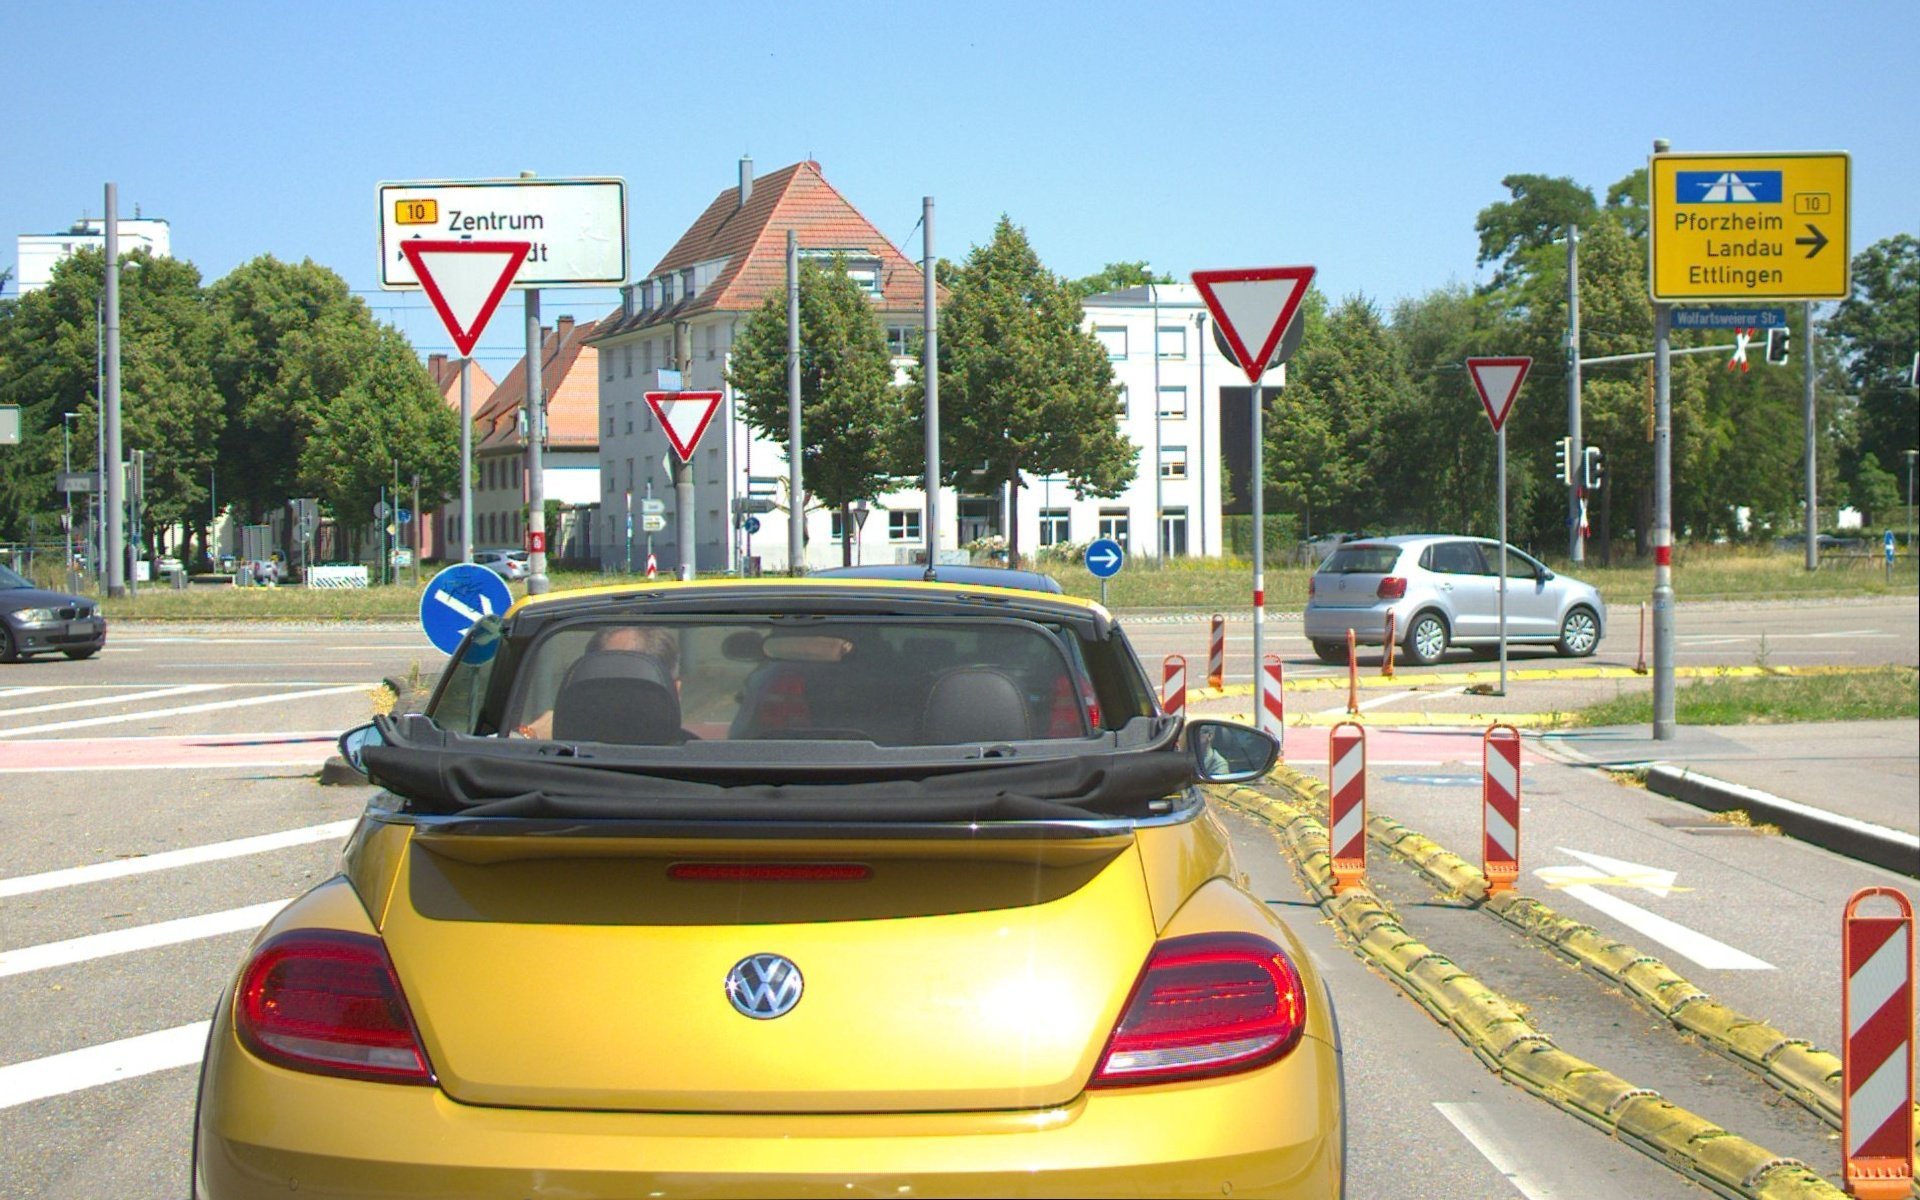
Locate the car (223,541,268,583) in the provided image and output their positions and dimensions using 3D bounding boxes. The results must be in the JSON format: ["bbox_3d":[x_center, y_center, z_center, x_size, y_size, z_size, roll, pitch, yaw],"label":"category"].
[{"bbox_3d":[-34.579,-1.841,166.253,1.993,2.007,4.001,1,1,-13],"label":"car"}]

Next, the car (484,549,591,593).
[{"bbox_3d":[-16.318,-1.123,133.050,3.986,1.612,2.000,1,0,-4],"label":"car"}]

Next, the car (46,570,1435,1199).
[{"bbox_3d":[-0.312,0.676,6.368,1.825,1.398,3.662,0,1,-1],"label":"car"}]

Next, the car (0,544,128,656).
[{"bbox_3d":[-13.303,-0.003,45.696,4.072,1.398,1.751,0,2,22],"label":"car"}]

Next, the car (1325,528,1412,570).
[{"bbox_3d":[20.090,-2.514,169.035,3.990,2.007,1.999,1,0,15],"label":"car"}]

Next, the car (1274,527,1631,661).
[{"bbox_3d":[5.695,-0.097,39.586,3.988,1.417,1.782,-2,2,-38],"label":"car"}]

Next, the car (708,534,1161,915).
[{"bbox_3d":[-0.216,0.454,15.664,1.797,1.435,4.001,0,2,-3],"label":"car"}]

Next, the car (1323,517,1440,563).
[{"bbox_3d":[16.179,-2.290,131.919,3.986,1.678,2.001,1,1,-13],"label":"car"}]

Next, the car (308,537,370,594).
[{"bbox_3d":[-22.800,-1.273,126.125,1.993,2.007,4.001,1,1,-13],"label":"car"}]
